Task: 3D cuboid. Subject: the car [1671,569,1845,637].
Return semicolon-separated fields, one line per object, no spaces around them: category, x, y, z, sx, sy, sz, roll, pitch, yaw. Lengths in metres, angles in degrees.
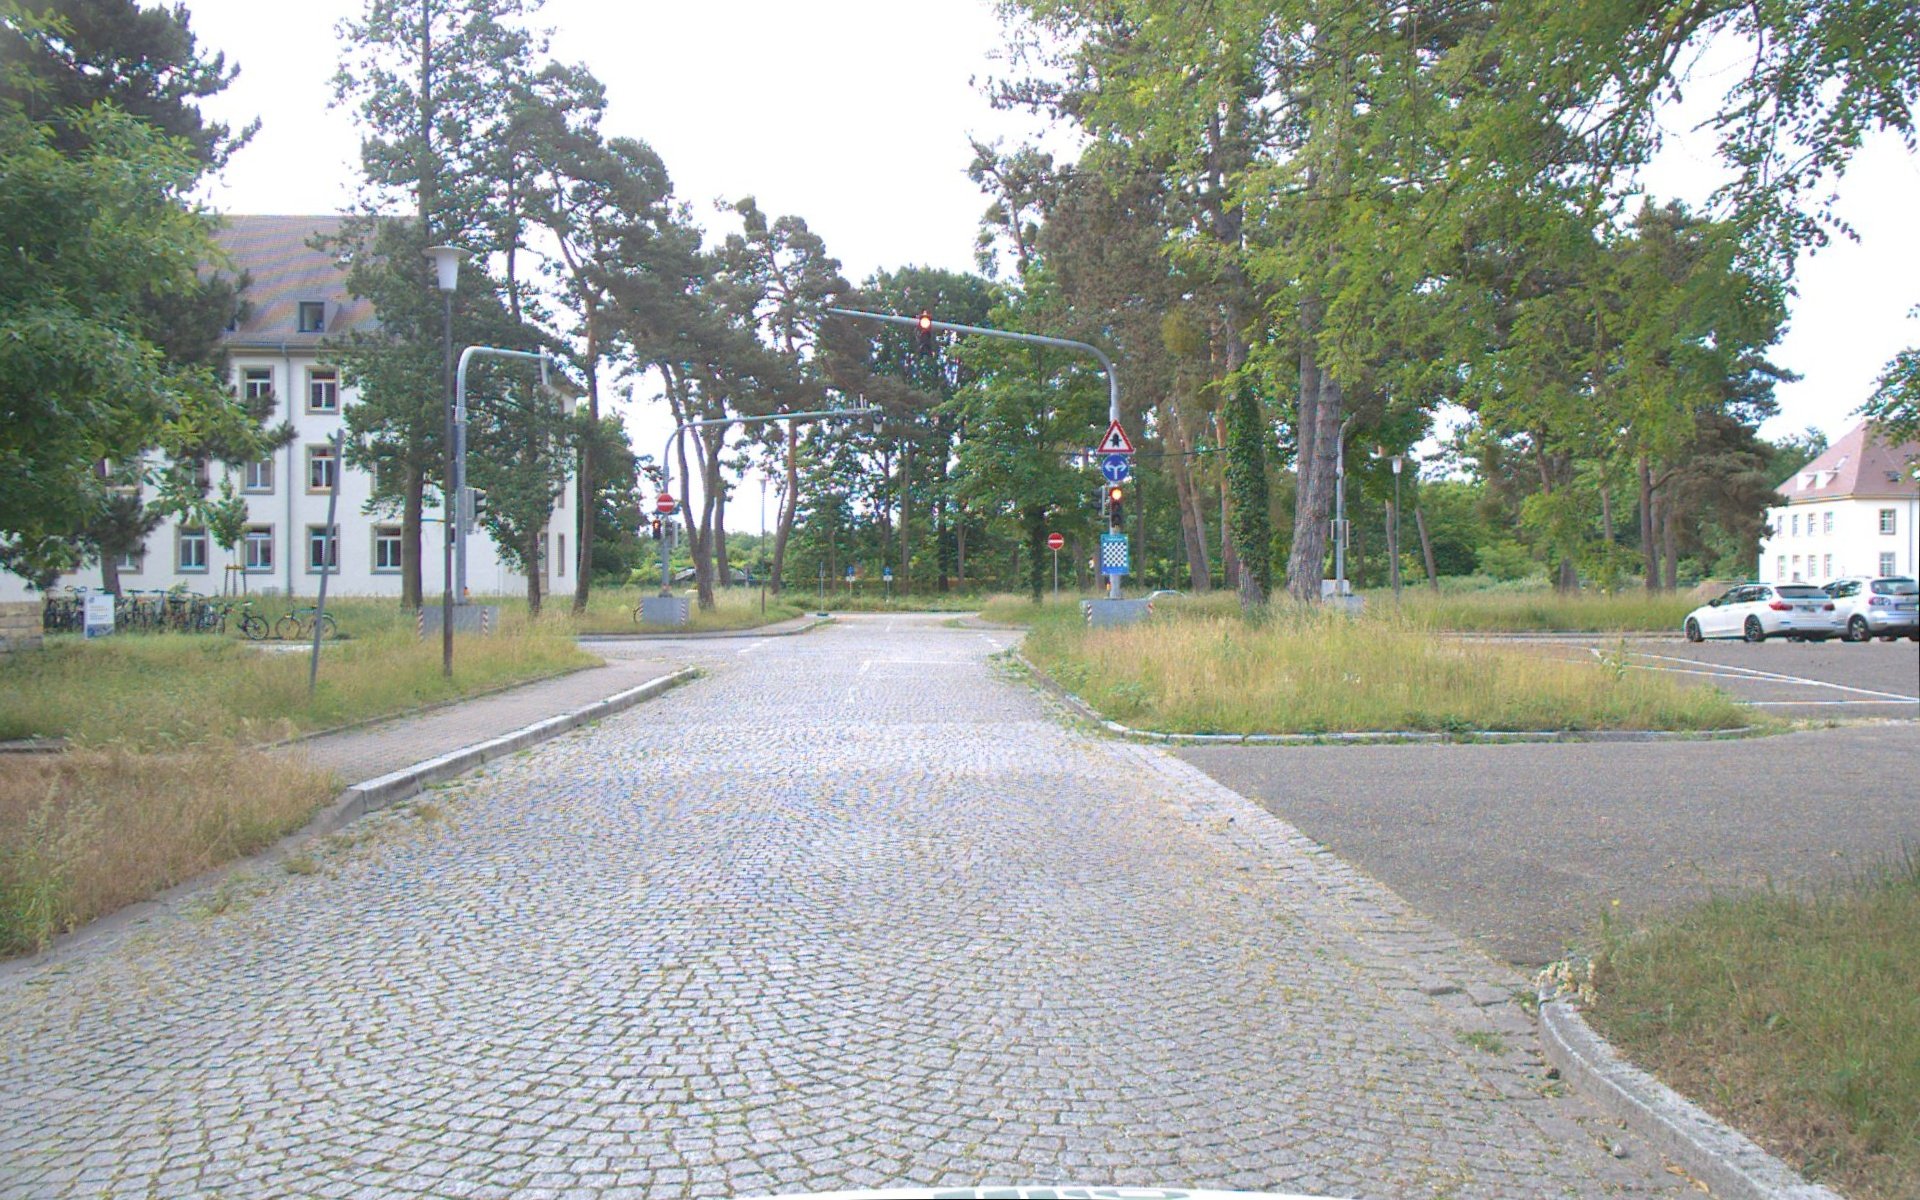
car;19.669;0.120;41.003;1.812;1.512;4.604;1;-2;-5

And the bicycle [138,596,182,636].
bicycle;-22.585;0.452;46.721;0.504;1.098;1.585;-1;0;-2

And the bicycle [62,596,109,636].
bicycle;-24.611;0.439;46.560;0.504;1.098;1.585;-1;0;-2

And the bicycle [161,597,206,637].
bicycle;-21.890;0.469;46.659;0.504;1.098;1.585;-1;0;1

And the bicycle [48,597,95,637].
bicycle;-24.989;0.460;46.536;0.504;1.098;1.585;-1;0;-2

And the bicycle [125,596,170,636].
bicycle;-22.940;0.443;46.709;0.504;1.098;1.585;-1;0;-2

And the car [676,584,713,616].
car;-16.590;-0.014;103.598;1.954;1.878;3.996;1;0;-5

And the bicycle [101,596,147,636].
bicycle;-23.557;0.439;46.635;0.504;1.098;1.585;-1;0;-2

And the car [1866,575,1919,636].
car;24.823;0.130;41.632;1.666;1.511;4.242;0;-2;-1

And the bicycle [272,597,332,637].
bicycle;-18.185;0.457;45.694;1.435;1.084;0.516;-1;0;-4

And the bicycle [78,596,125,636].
bicycle;-24.168;0.447;46.587;0.504;1.098;1.585;-1;0;-2

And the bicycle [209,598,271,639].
bicycle;-19.785;0.495;45.456;1.435;1.098;0.516;-1;0;-4

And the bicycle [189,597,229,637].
bicycle;-21.229;0.485;46.777;0.504;1.098;1.584;-1;0;-5

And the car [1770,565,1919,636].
car;22.256;0.052;41.225;1.747;1.634;4.238;0;-2;-5
